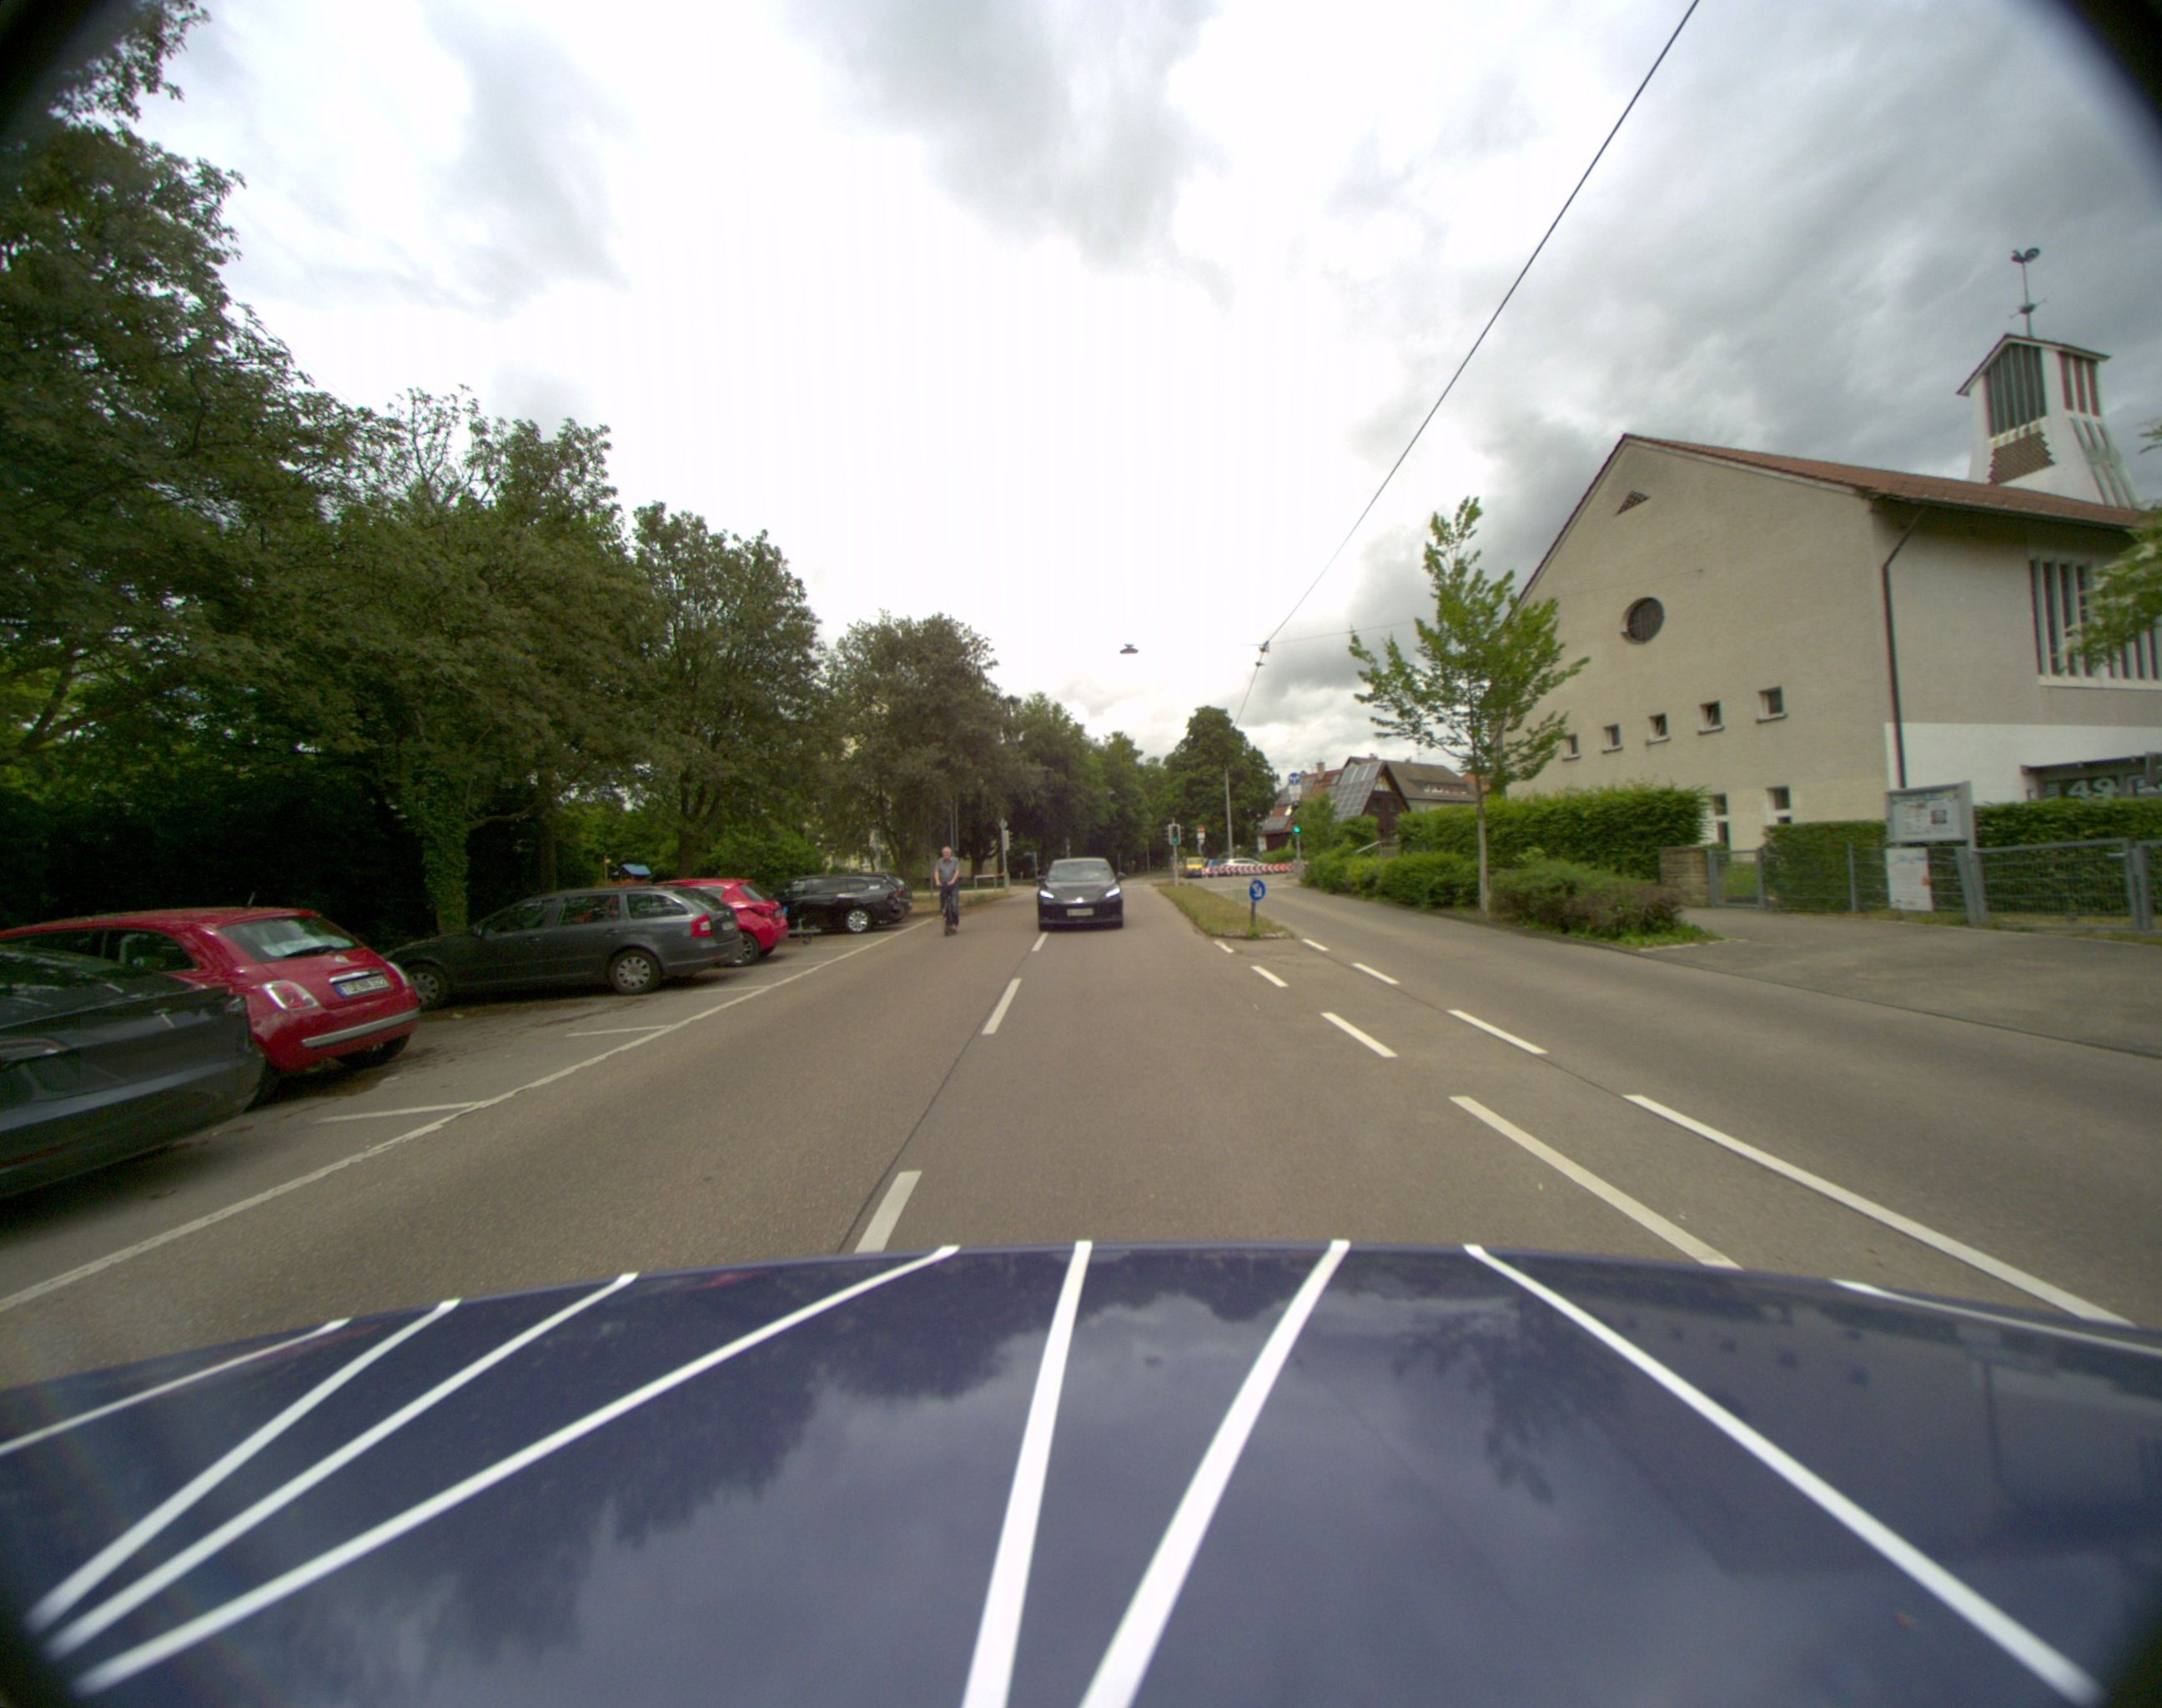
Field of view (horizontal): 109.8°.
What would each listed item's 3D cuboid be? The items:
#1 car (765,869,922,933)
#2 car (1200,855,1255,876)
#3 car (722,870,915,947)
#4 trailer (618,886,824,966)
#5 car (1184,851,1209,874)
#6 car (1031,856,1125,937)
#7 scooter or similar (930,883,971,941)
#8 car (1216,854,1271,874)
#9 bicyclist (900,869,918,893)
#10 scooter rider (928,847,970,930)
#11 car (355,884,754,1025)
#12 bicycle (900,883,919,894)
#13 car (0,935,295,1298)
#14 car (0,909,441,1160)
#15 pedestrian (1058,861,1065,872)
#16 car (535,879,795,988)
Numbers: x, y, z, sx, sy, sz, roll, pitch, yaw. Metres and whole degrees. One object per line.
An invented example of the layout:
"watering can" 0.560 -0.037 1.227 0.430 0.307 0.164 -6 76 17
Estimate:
"car" -6.430 1.256 20.855 3.726 1.467 1.576 -3 0 -2
"car" 12.301 0.955 63.988 4.175 1.537 1.846 -3 -2 0
"car" -6.223 1.256 18.424 4.149 1.467 1.575 -3 0 -11
"trailer" -7.218 1.418 15.538 3.413 1.259 1.615 -3 1 -9
"car" 10.938 0.807 72.151 1.920 1.977 4.802 -3 -1 5
"car" 0.041 0.851 17.218 1.803 1.541 4.299 -3 0 3
"scooter or similar" -2.838 1.243 16.621 0.683 1.132 1.459 -3 0 -4
"car" 13.164 0.823 61.617 3.904 1.463 1.845 -2 -2 -8
"bicyclist" -9.348 1.458 41.388 0.521 1.178 0.966 6 -12 -45
"scooter rider" -2.860 0.734 16.564 0.683 1.720 1.196 -3 0 -4
"car" -7.083 1.302 10.640 4.233 1.455 1.634 -3 0 -8
"bicycle" -9.338 1.892 41.337 0.521 0.494 0.986 7 -12 -45
"car" -6.796 1.312 3.470 4.173 1.398 1.696 -3 1 -10
"car" -7.384 1.312 5.827 3.337 1.455 1.633 -3 1 -9
"pedestrian" -2.462 1.582 94.241 0.688 1.373 0.606 -3 0 10
"car" -6.963 1.282 13.072 3.536 1.467 1.591 -3 0 -12
